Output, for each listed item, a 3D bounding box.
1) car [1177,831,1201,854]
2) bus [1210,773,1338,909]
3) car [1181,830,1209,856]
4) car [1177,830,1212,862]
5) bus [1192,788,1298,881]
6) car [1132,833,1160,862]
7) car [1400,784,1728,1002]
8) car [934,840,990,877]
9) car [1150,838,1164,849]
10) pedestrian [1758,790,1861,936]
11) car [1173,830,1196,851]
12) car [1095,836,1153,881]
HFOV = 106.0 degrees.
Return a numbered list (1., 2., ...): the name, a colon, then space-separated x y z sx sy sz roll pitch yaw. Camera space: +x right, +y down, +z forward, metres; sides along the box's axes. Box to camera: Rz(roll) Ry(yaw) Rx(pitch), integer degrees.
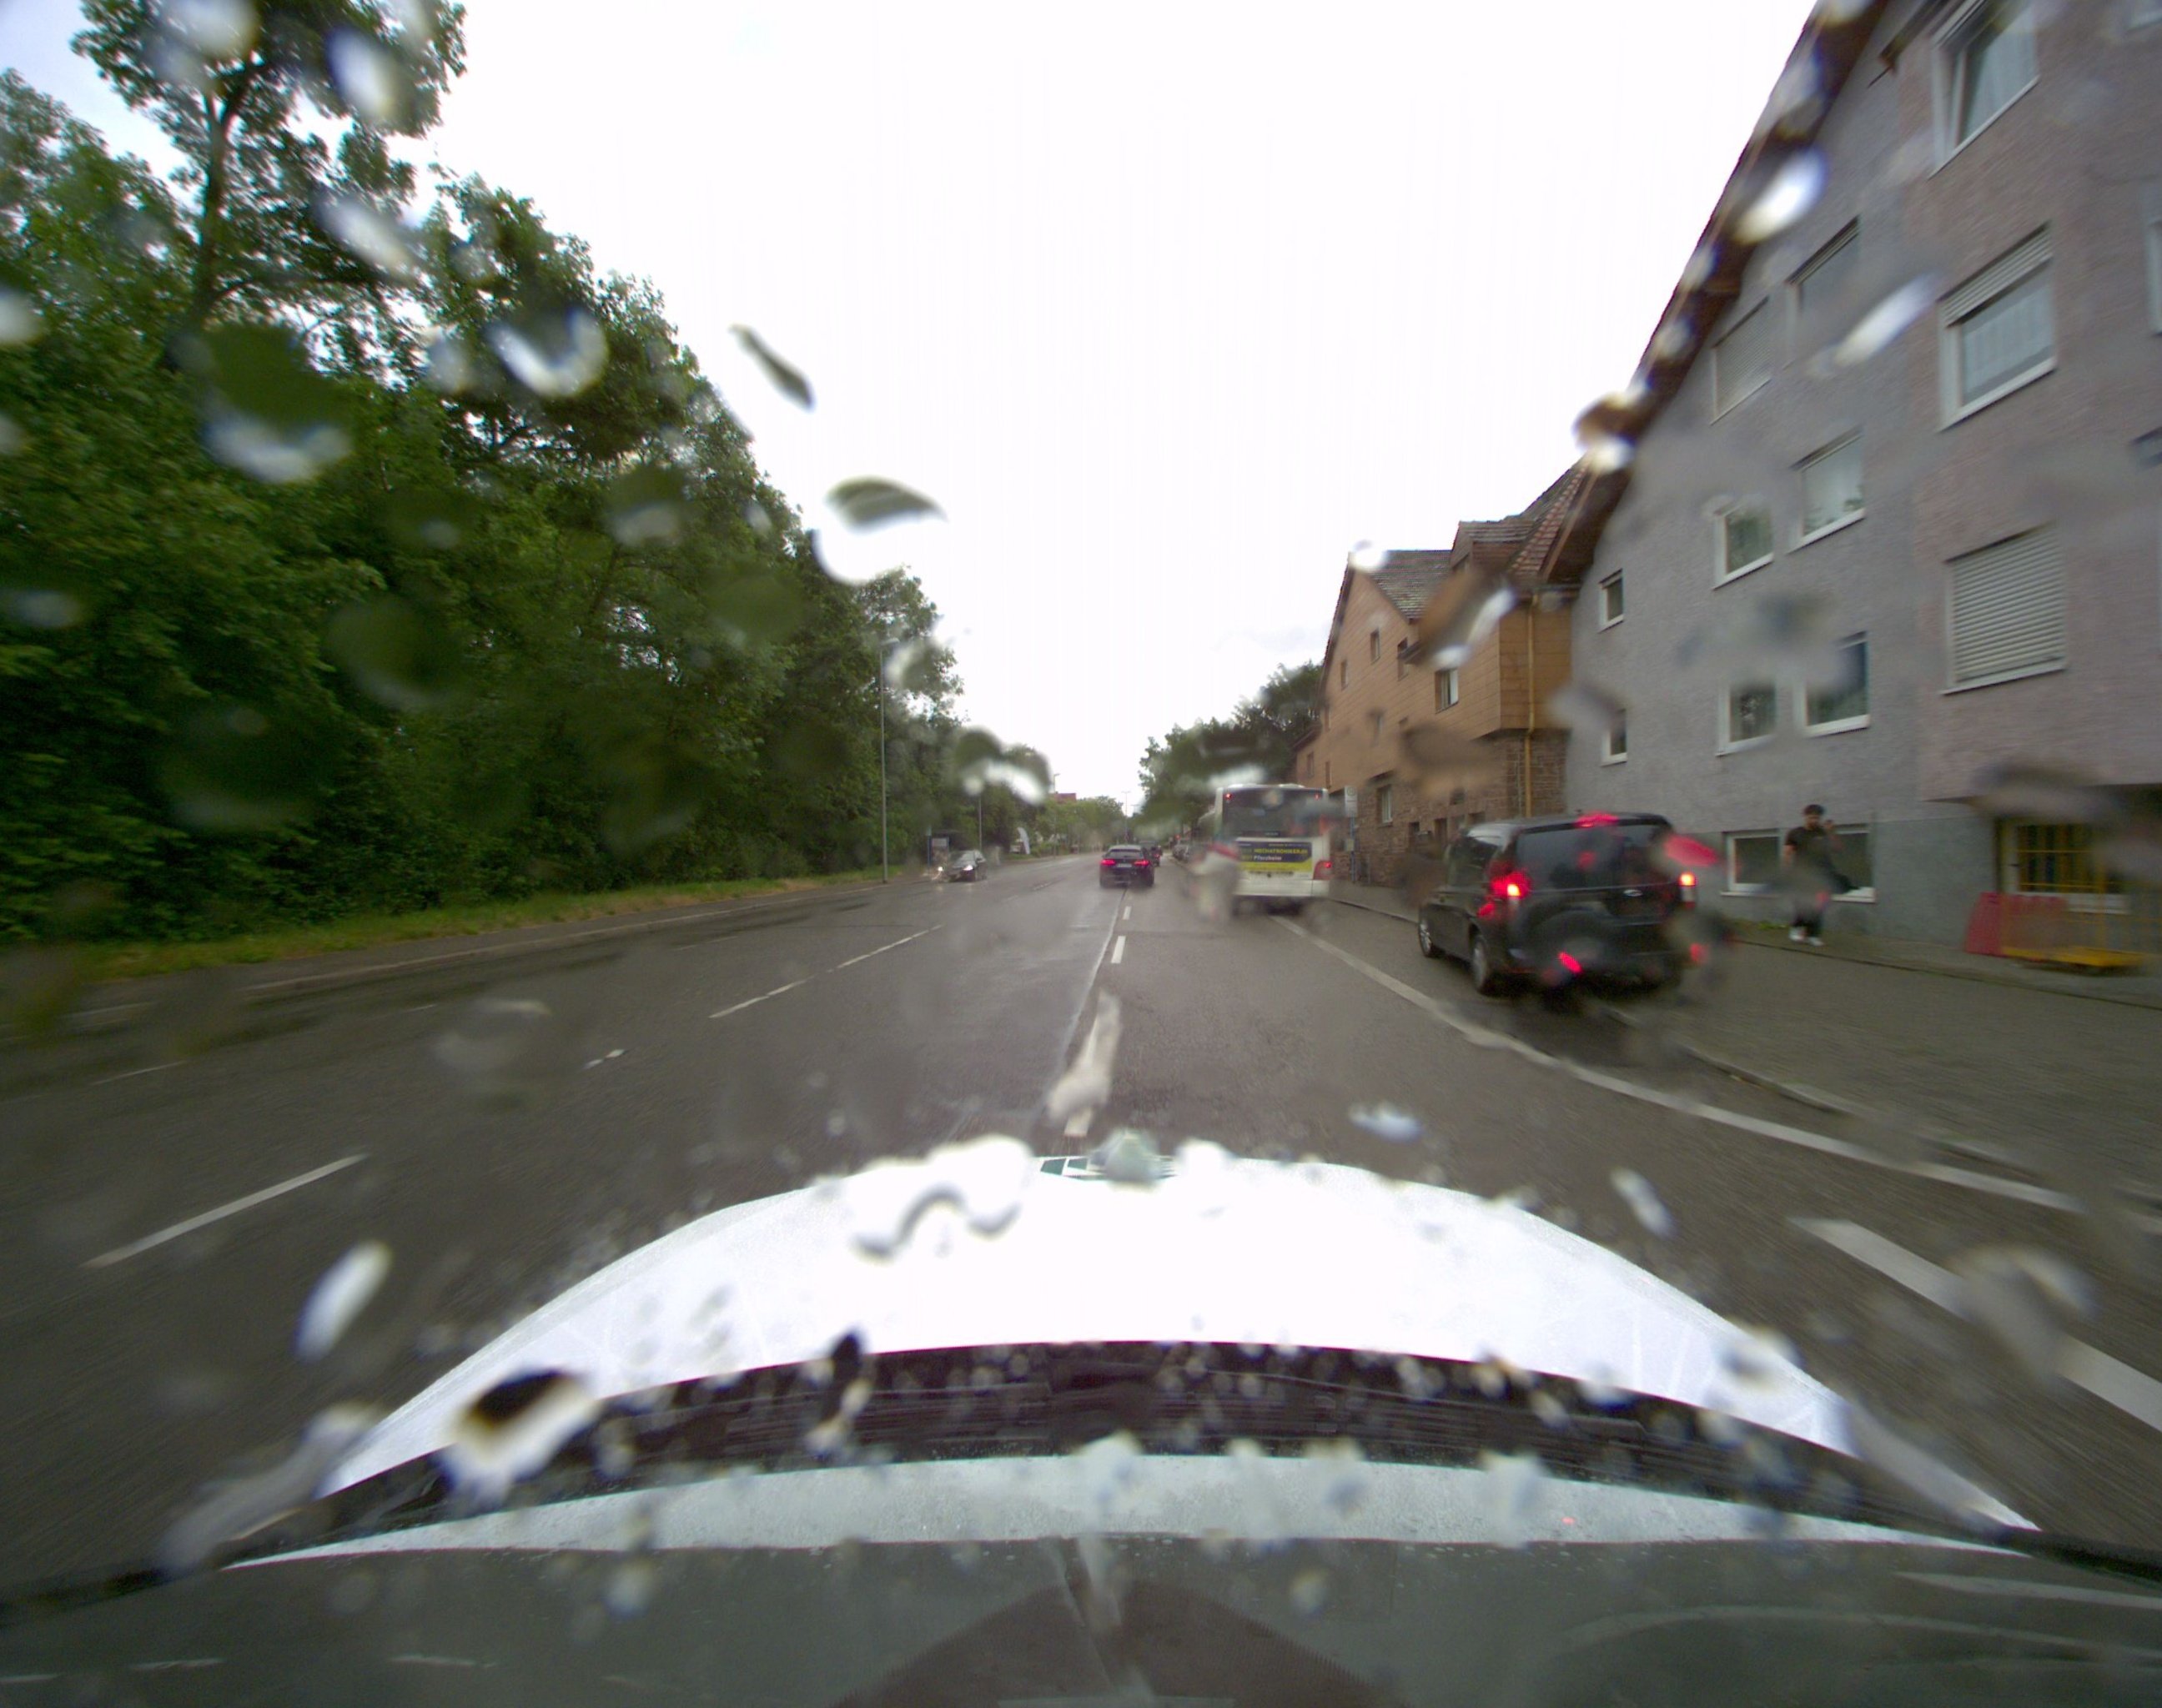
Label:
1. car: 10.271 -1.152 77.794 1.985 2.013 4.004 0 3 3
2. bus: 4.804 -0.419 21.385 2.607 2.847 8.313 -1 2 10
3. car: 9.440 -0.916 67.831 1.985 2.013 4.004 0 3 3
4. car: 7.626 -0.575 55.120 1.985 2.013 4.004 0 3 3
5. bus: 5.794 -0.792 30.375 2.611 2.847 9.807 -1 2 4
6. car: 4.857 -0.522 61.132 1.984 2.013 4.006 0 2 4
7. car: 5.243 0.335 9.696 1.913 1.892 4.778 -3 0 13
8. car: -5.505 0.159 38.088 1.762 1.533 4.005 -1 2 3
9. car: 11.321 -1.609 121.348 1.858 1.518 4.004 0 3 3
10. pedestrian: 9.139 0.101 10.238 0.687 1.754 0.670 -2 1 3
11. car: 10.435 -1.363 82.424 1.985 2.013 4.004 0 3 3
12. car: 1.649 0.109 30.749 1.985 1.452 4.005 2 2 4
